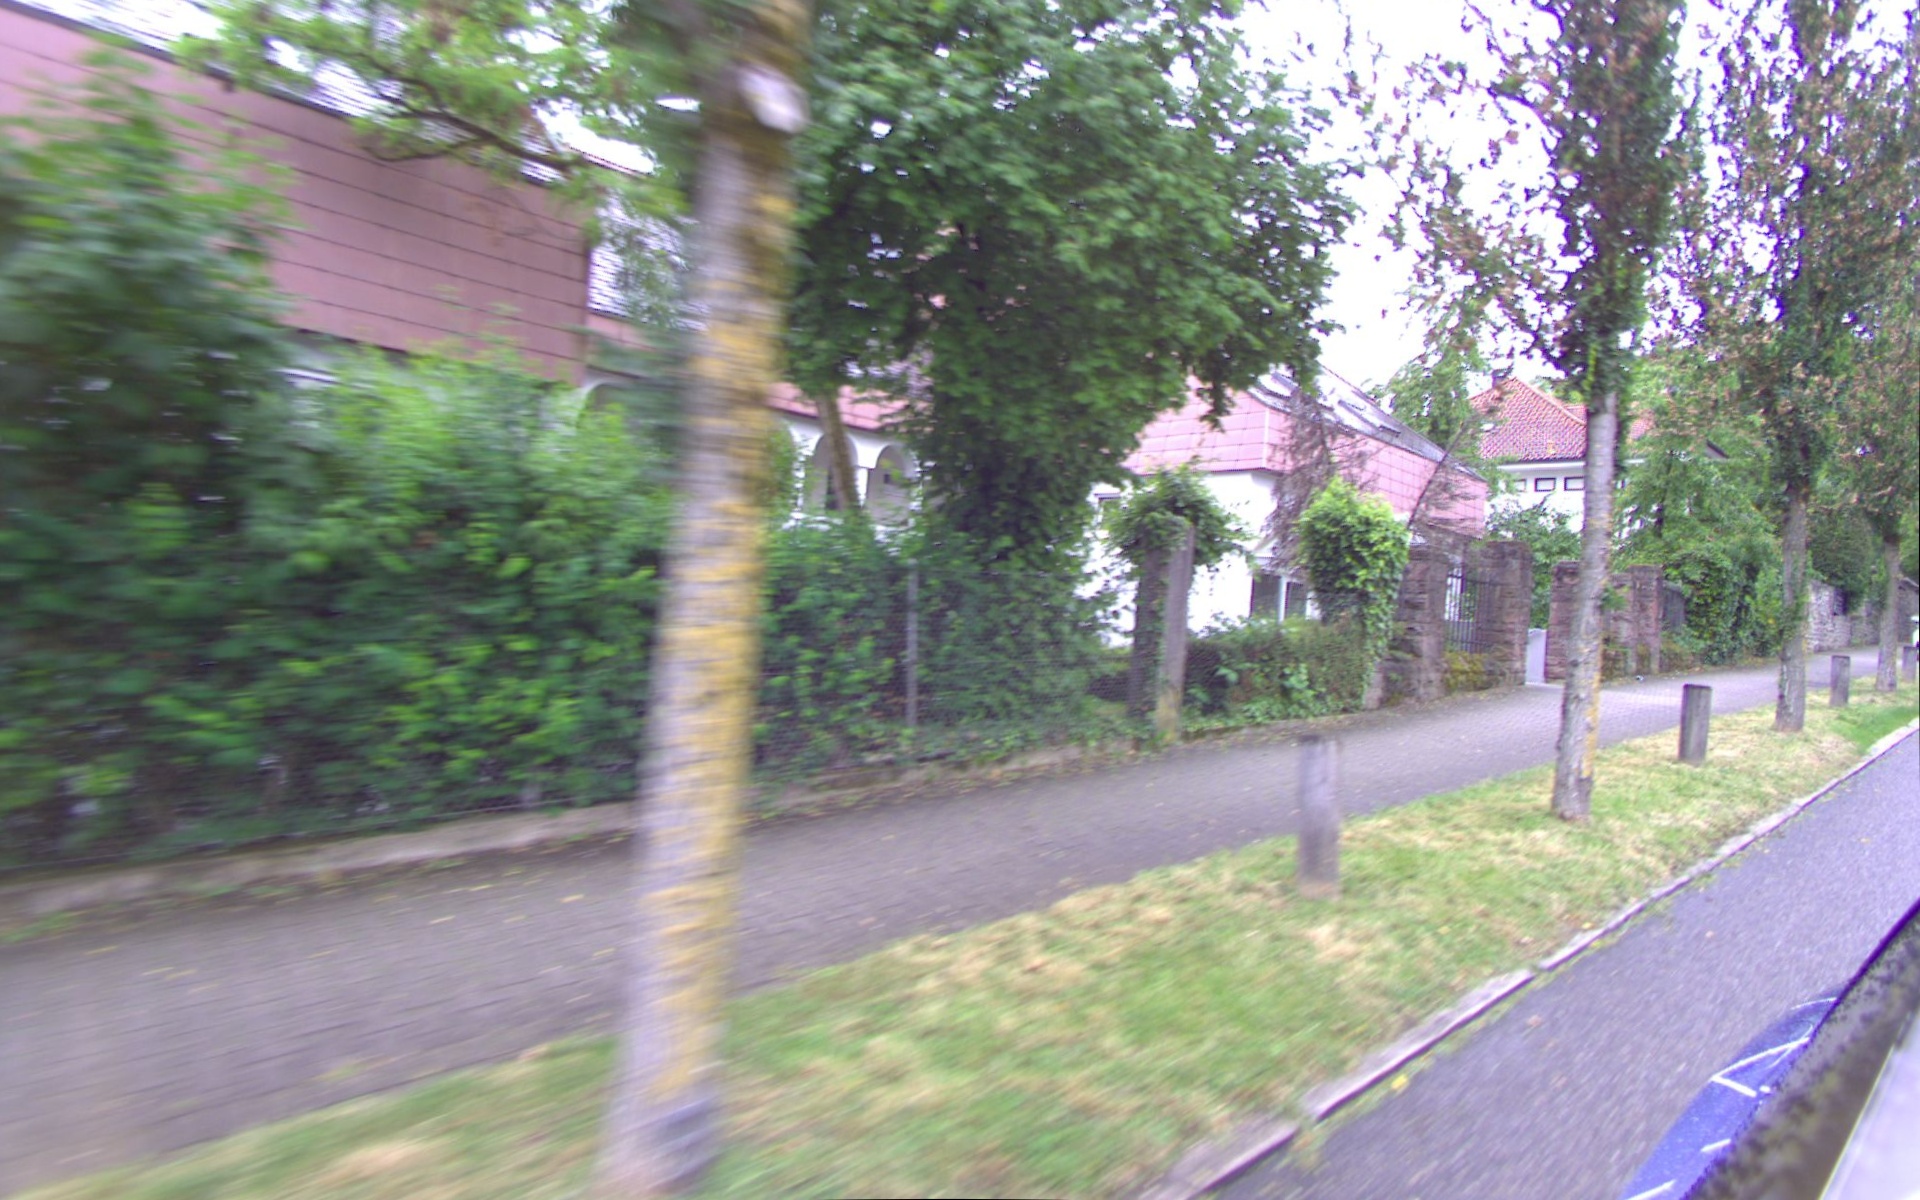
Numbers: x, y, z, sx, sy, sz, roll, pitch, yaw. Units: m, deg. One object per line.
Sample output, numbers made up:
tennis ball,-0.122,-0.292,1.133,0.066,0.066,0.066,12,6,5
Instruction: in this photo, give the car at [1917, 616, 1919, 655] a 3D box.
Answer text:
car,27.145,0.681,27.136,3.932,1.649,1.828,1,3,-43
